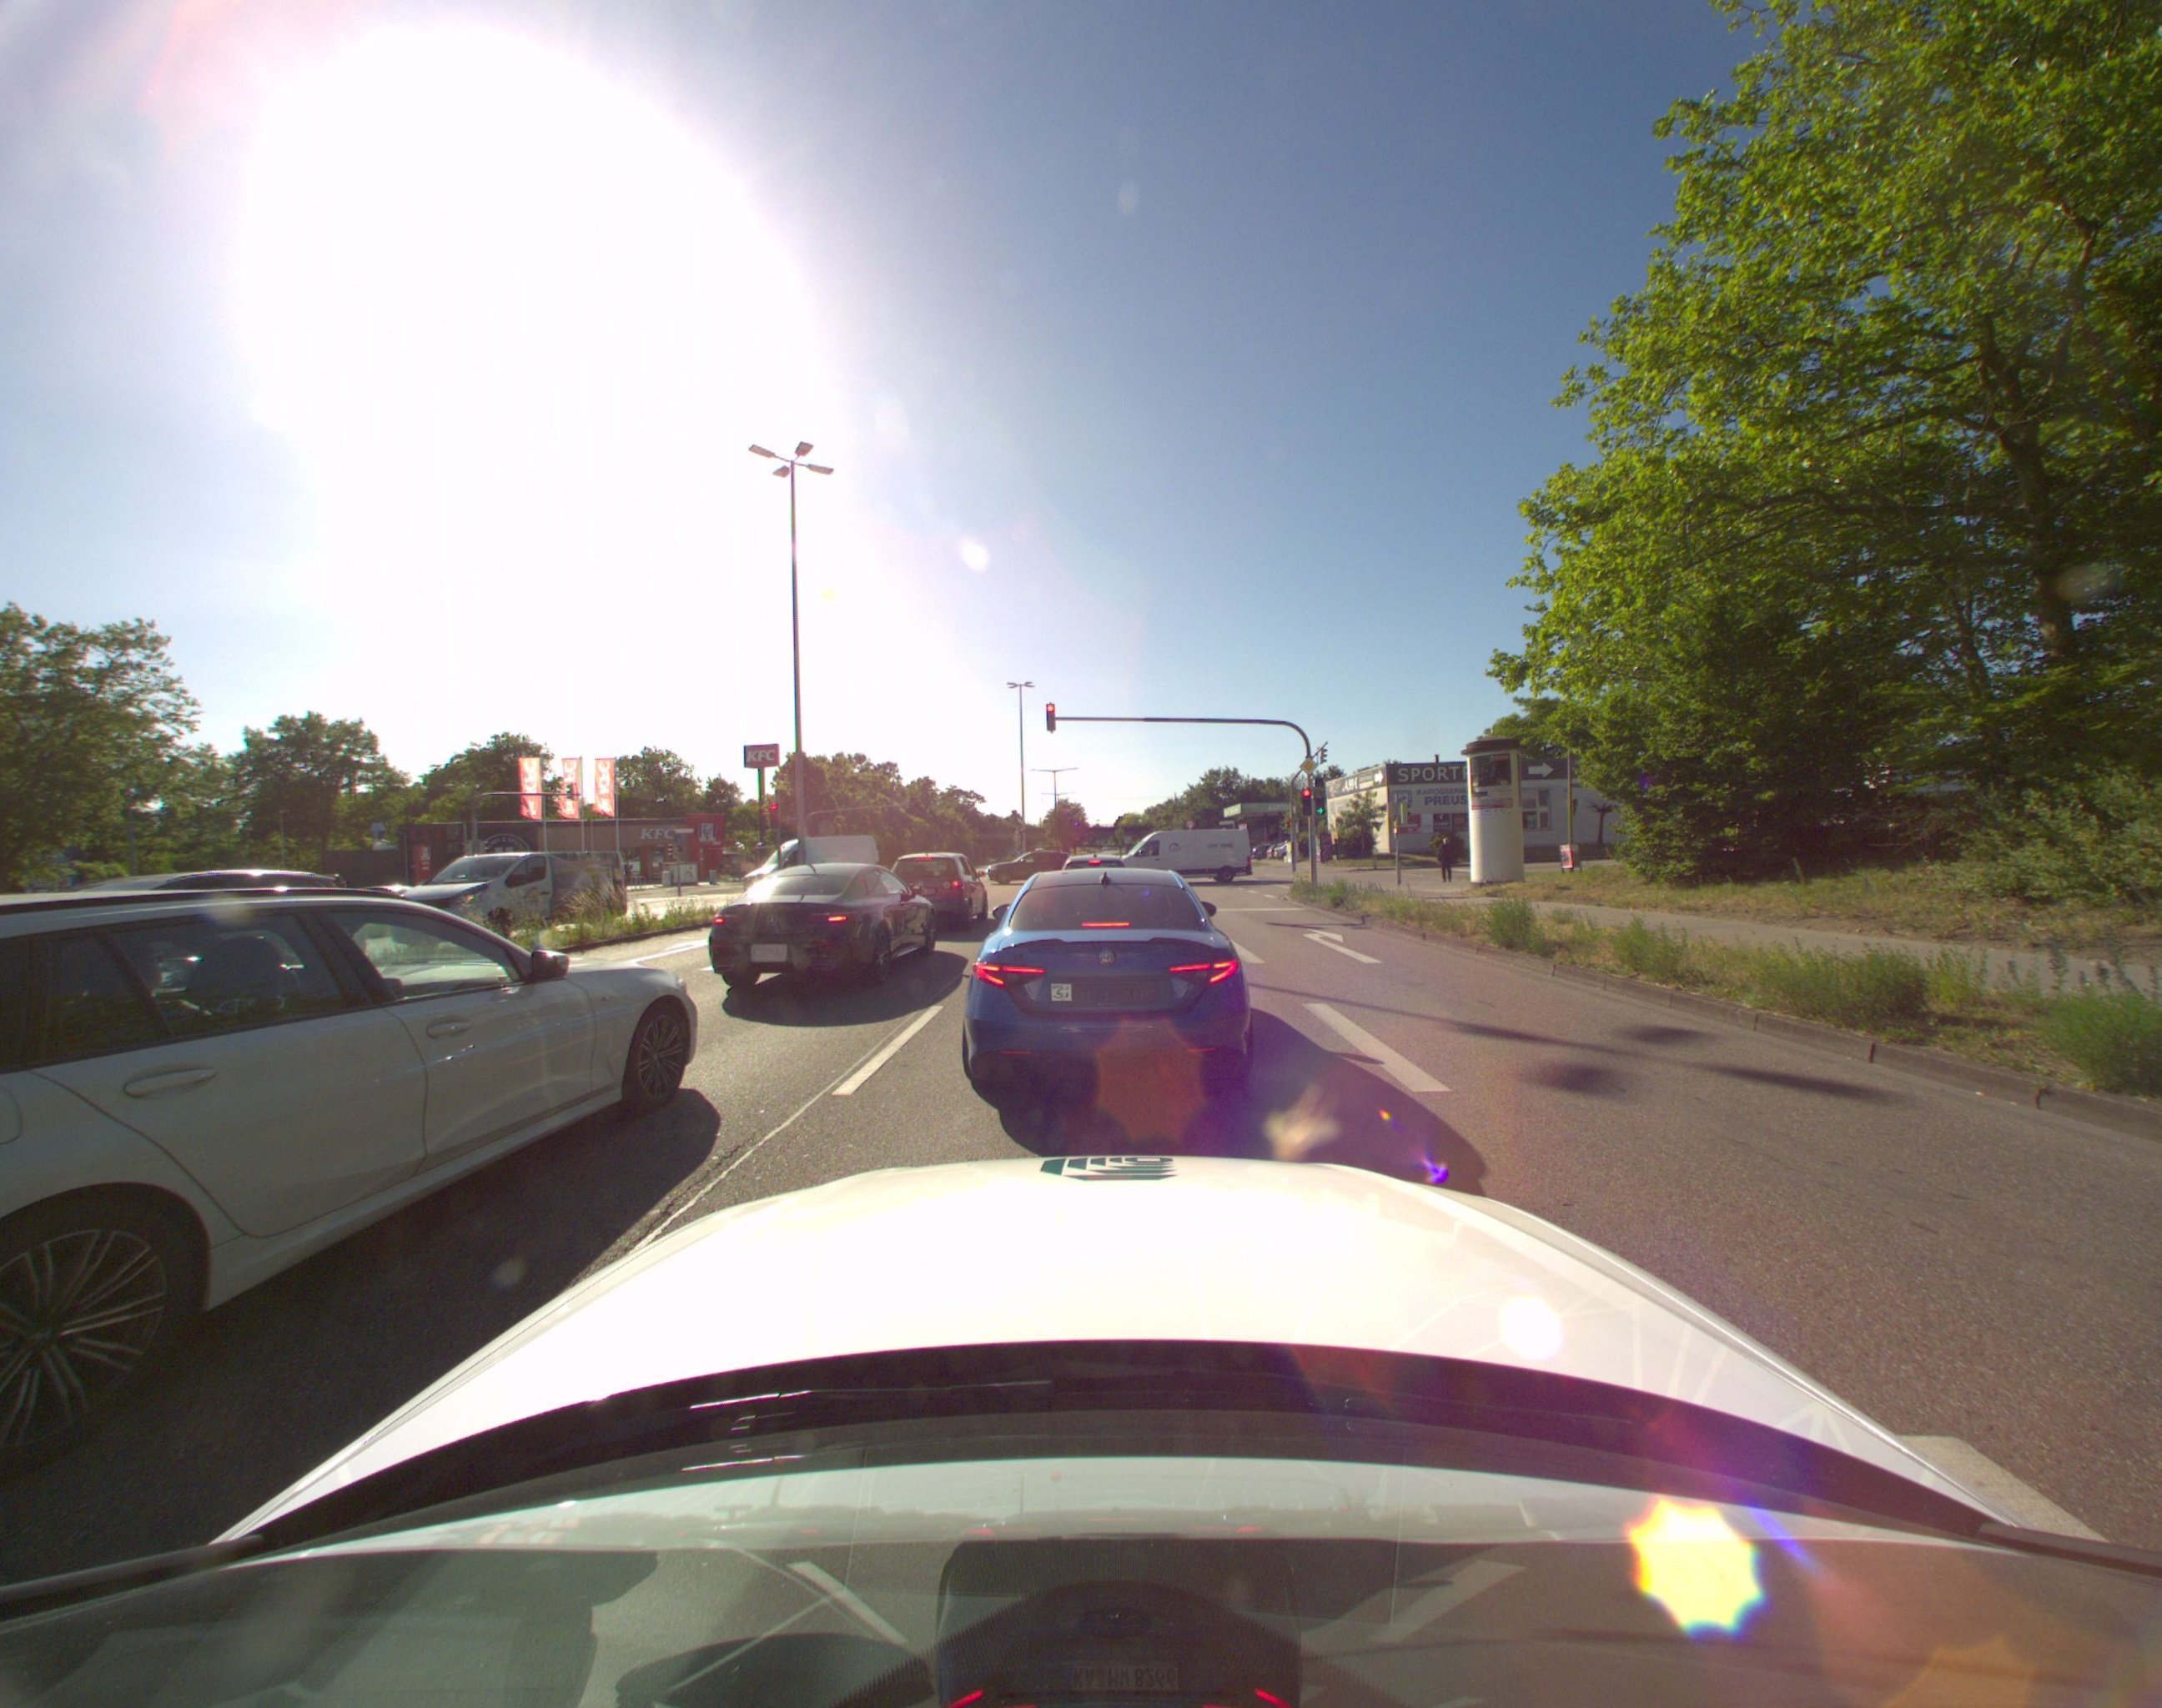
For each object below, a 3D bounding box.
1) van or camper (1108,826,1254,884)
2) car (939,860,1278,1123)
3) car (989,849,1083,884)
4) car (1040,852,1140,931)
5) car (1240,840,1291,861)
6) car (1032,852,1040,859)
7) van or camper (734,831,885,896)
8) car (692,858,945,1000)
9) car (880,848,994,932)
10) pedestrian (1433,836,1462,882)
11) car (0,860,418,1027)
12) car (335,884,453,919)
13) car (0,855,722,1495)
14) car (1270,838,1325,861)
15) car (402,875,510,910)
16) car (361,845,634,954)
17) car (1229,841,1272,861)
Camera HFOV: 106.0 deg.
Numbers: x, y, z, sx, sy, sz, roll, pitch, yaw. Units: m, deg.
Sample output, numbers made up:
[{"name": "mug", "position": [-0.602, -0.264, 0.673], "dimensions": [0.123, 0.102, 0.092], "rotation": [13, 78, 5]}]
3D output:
[{"name": "van or camper", "position": [4.754, 0.040, 39.391], "dimensions": [6.714, 2.572, 2.183], "rotation": [-1, 0, -2]}, {"name": "car", "position": [0.212, 0.783, 6.494], "dimensions": [1.859, 1.385, 3.933], "rotation": [-1, 0, 2]}, {"name": "car", "position": [-2.343, 0.630, 41.791], "dimensions": [4.598, 1.653, 1.994], "rotation": [-1, 0, -10]}, {"name": "car", "position": [0.230, 0.696, 17.199], "dimensions": [1.859, 1.450, 3.933], "rotation": [-1, 0, 2]}, {"name": "car", "position": [16.039, -0.297, 70.762], "dimensions": [3.997, 1.706, 1.685], "rotation": [-1, 0, -18]}, {"name": "car", "position": [-11.203, 0.280, 205.125], "dimensions": [1.817, 1.694, 3.835], "rotation": [-1, 0, -1]}, {"name": "van or camper", "position": [-11.893, 0.332, 36.037], "dimensions": [5.990, 2.651, 1.975], "rotation": [-2, 0, -44]}, {"name": "car", "position": [-3.145, 0.807, 10.836], "dimensions": [1.762, 1.414, 4.463], "rotation": [-1, 0, 2]}, {"name": "car", "position": [-2.998, 0.692, 17.752], "dimensions": [1.642, 1.598, 3.933], "rotation": [-1, 0, 2]}, {"name": "pedestrian", "position": [14.196, 0.180, 31.565], "dimensions": [0.818, 1.721, 0.856], "rotation": [-1, 0, 9]}, {"name": "car", "position": [-11.749, 1.024, 11.105], "dimensions": [1.876, 1.689, 4.430], "rotation": [-4, 0, -4]}, {"name": "car", "position": [-32.128, 2.222, 38.172], "dimensions": [4.019, 1.429, 1.826], "rotation": [-1, 0, 3]}, {"name": "car", "position": [-3.432, 0.792, 3.363], "dimensions": [1.762, 1.509, 4.463], "rotation": [-1, 0, 2]}, {"name": "car", "position": [17.509, -0.365, 65.868], "dimensions": [3.993, 1.706, 1.687], "rotation": [-1, 0, -15]}, {"name": "car", "position": [-31.924, 1.972, 41.695], "dimensions": [4.025, 1.595, 1.824], "rotation": [-1, 0, -1]}, {"name": "car", "position": [-12.789, 0.877, 18.407], "dimensions": [1.982, 2.013, 5.037], "rotation": [-4, 0, 8]}, {"name": "car", "position": [15.382, -0.261, 73.971], "dimensions": [3.489, 1.706, 1.687], "rotation": [-1, 0, -14]}]
